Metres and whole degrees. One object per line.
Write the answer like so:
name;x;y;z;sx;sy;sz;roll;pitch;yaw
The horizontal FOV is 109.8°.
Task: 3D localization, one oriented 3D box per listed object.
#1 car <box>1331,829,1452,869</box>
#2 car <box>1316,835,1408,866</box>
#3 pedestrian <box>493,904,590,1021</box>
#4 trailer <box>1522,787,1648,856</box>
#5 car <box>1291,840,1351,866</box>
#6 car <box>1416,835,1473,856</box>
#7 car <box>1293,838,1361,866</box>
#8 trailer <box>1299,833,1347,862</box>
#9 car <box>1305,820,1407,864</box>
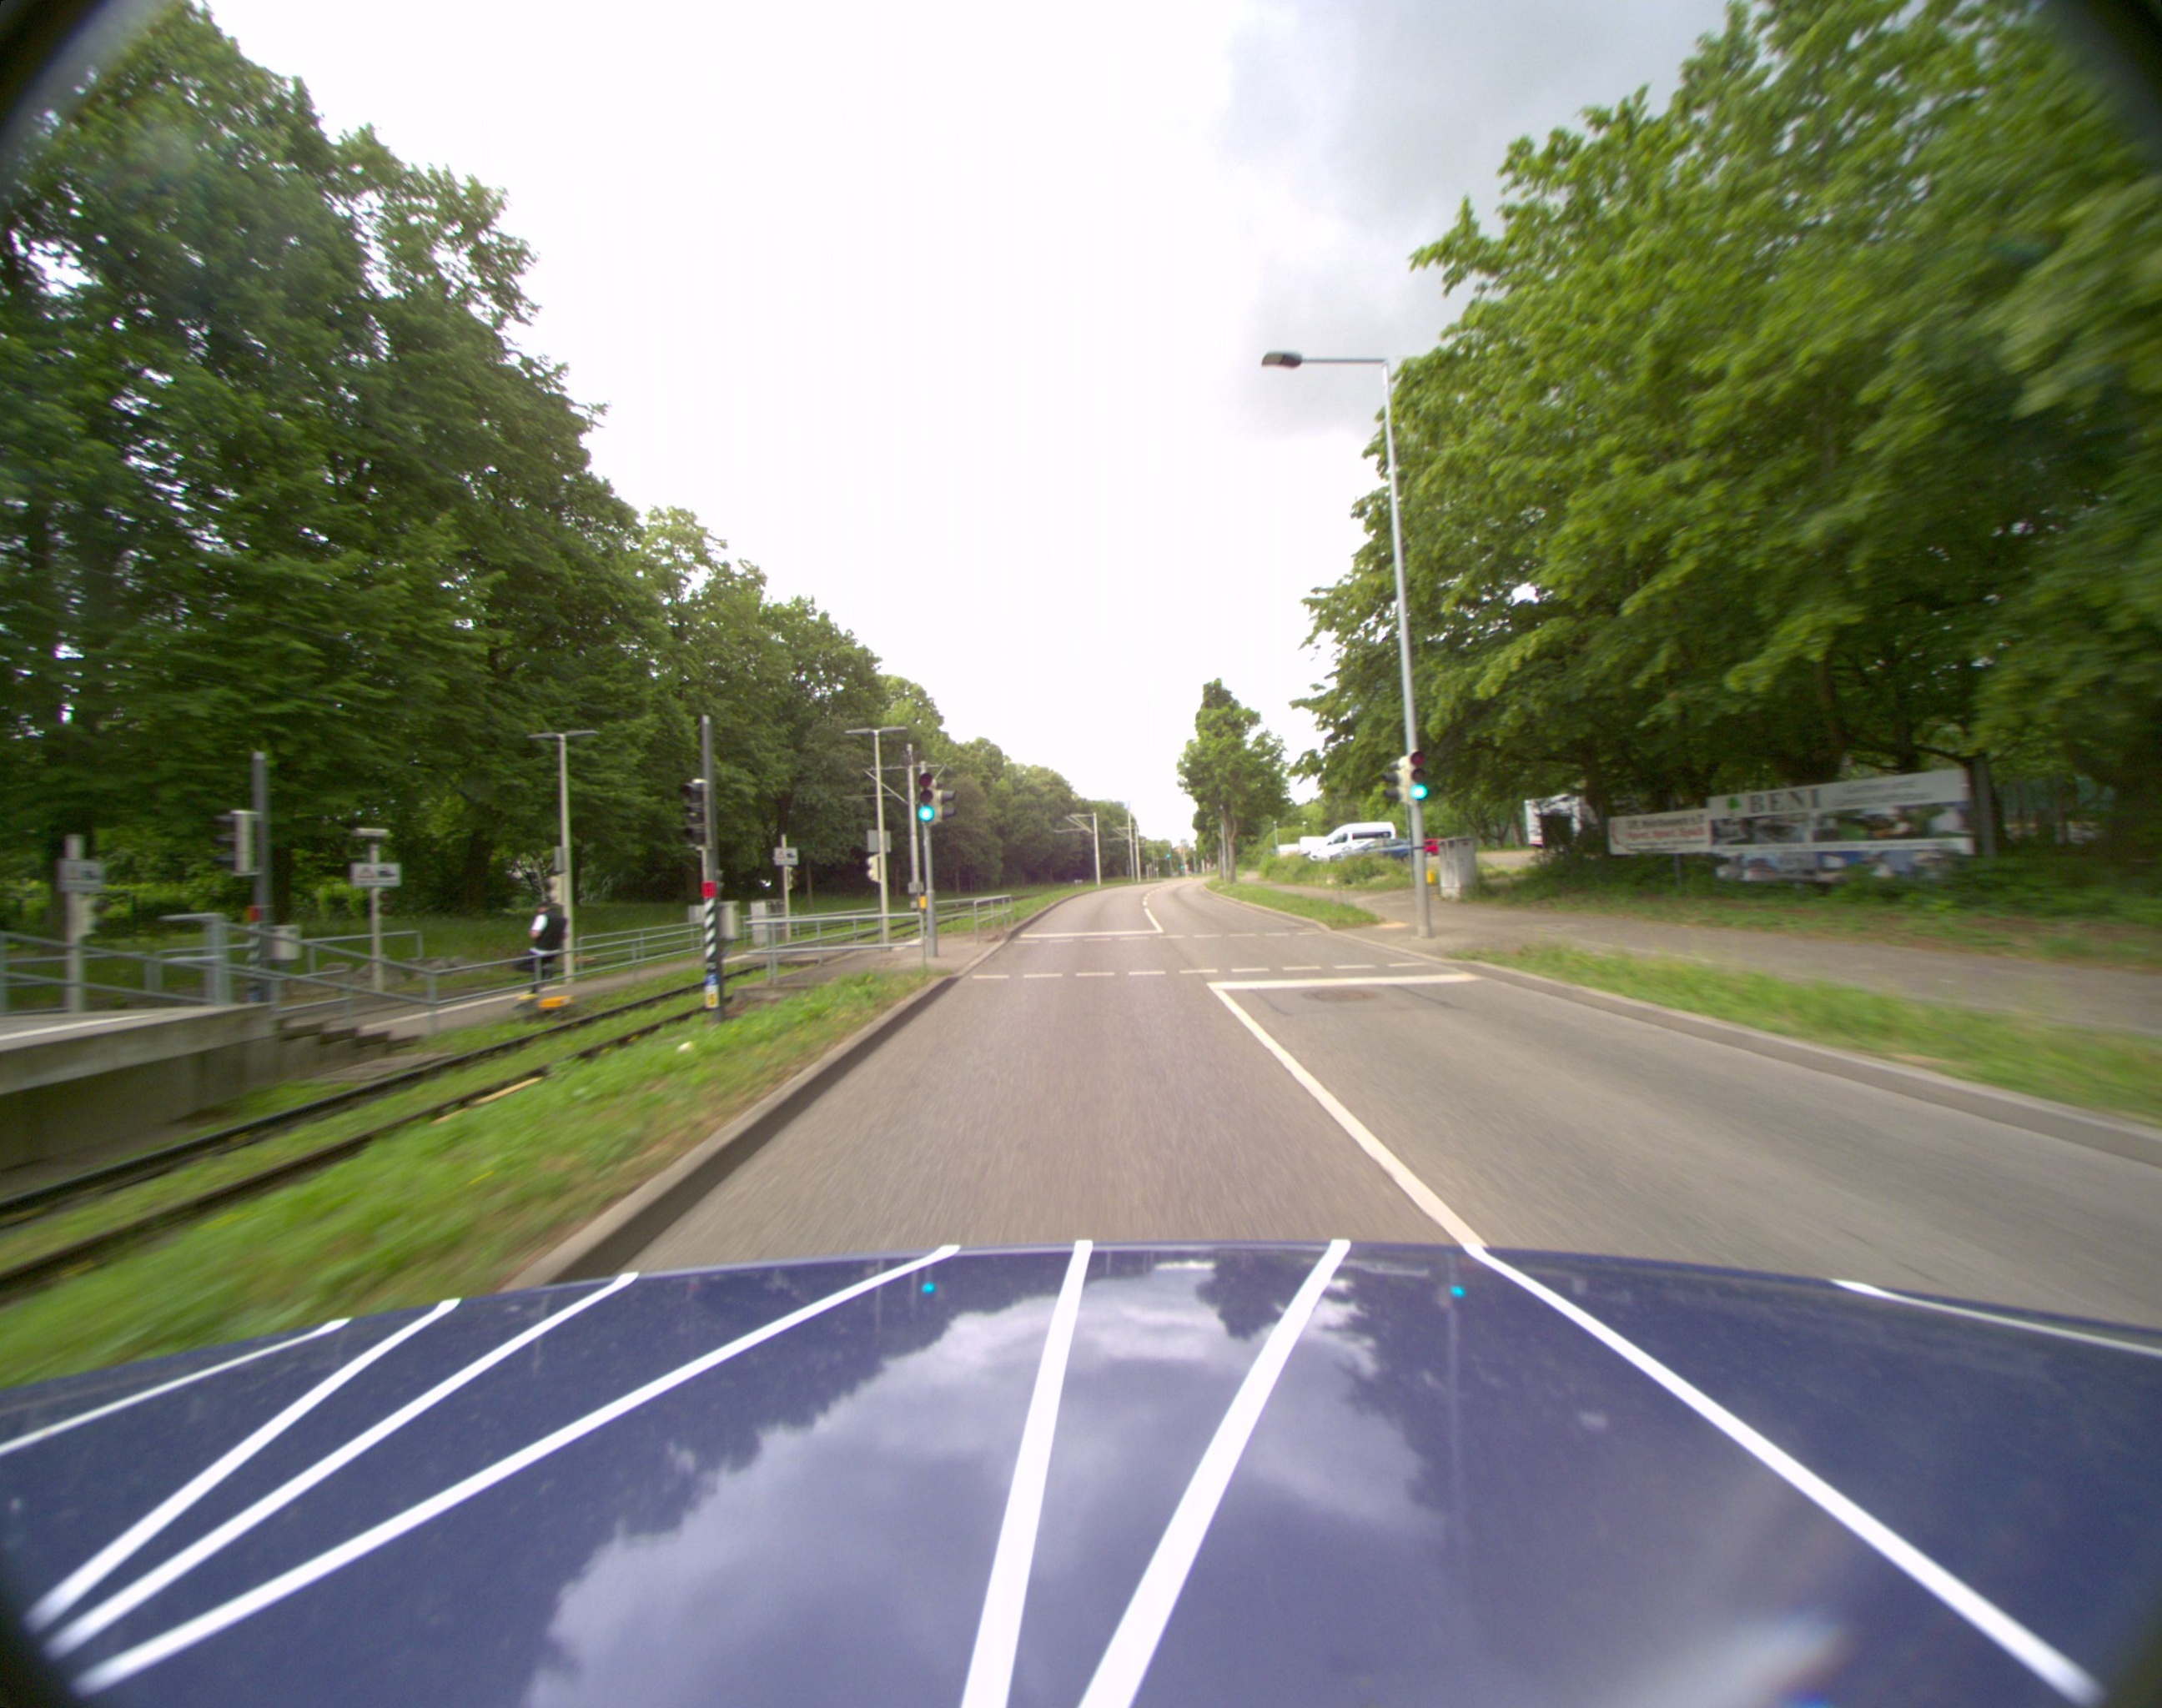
car;15.257;-0.233;37.613;5.165;1.552;1.887;-4;-2;9
car;15.245;-0.169;41.399;4.385;1.308;1.564;-4;-2;9
pedestrian;-8.830;1.746;12.475;0.987;1.747;0.729;-4;-1;-7
trailer;25.918;-1.560;39.539;2.653;3.056;7.201;-4;0;10
car;17.778;-0.033;56.504;4.040;1.574;2.003;-4;-2;14
car;31.846;-0.725;66.627;4.107;1.408;1.904;-4;-2;13
car;16.132;-0.107;50.091;4.040;1.538;2.003;-4;-2;14
trailer;18.716;-0.491;58.824;3.371;2.045;1.680;-3;-1;14
car;15.982;-0.664;44.464;5.165;2.093;2.217;-4;-2;9
